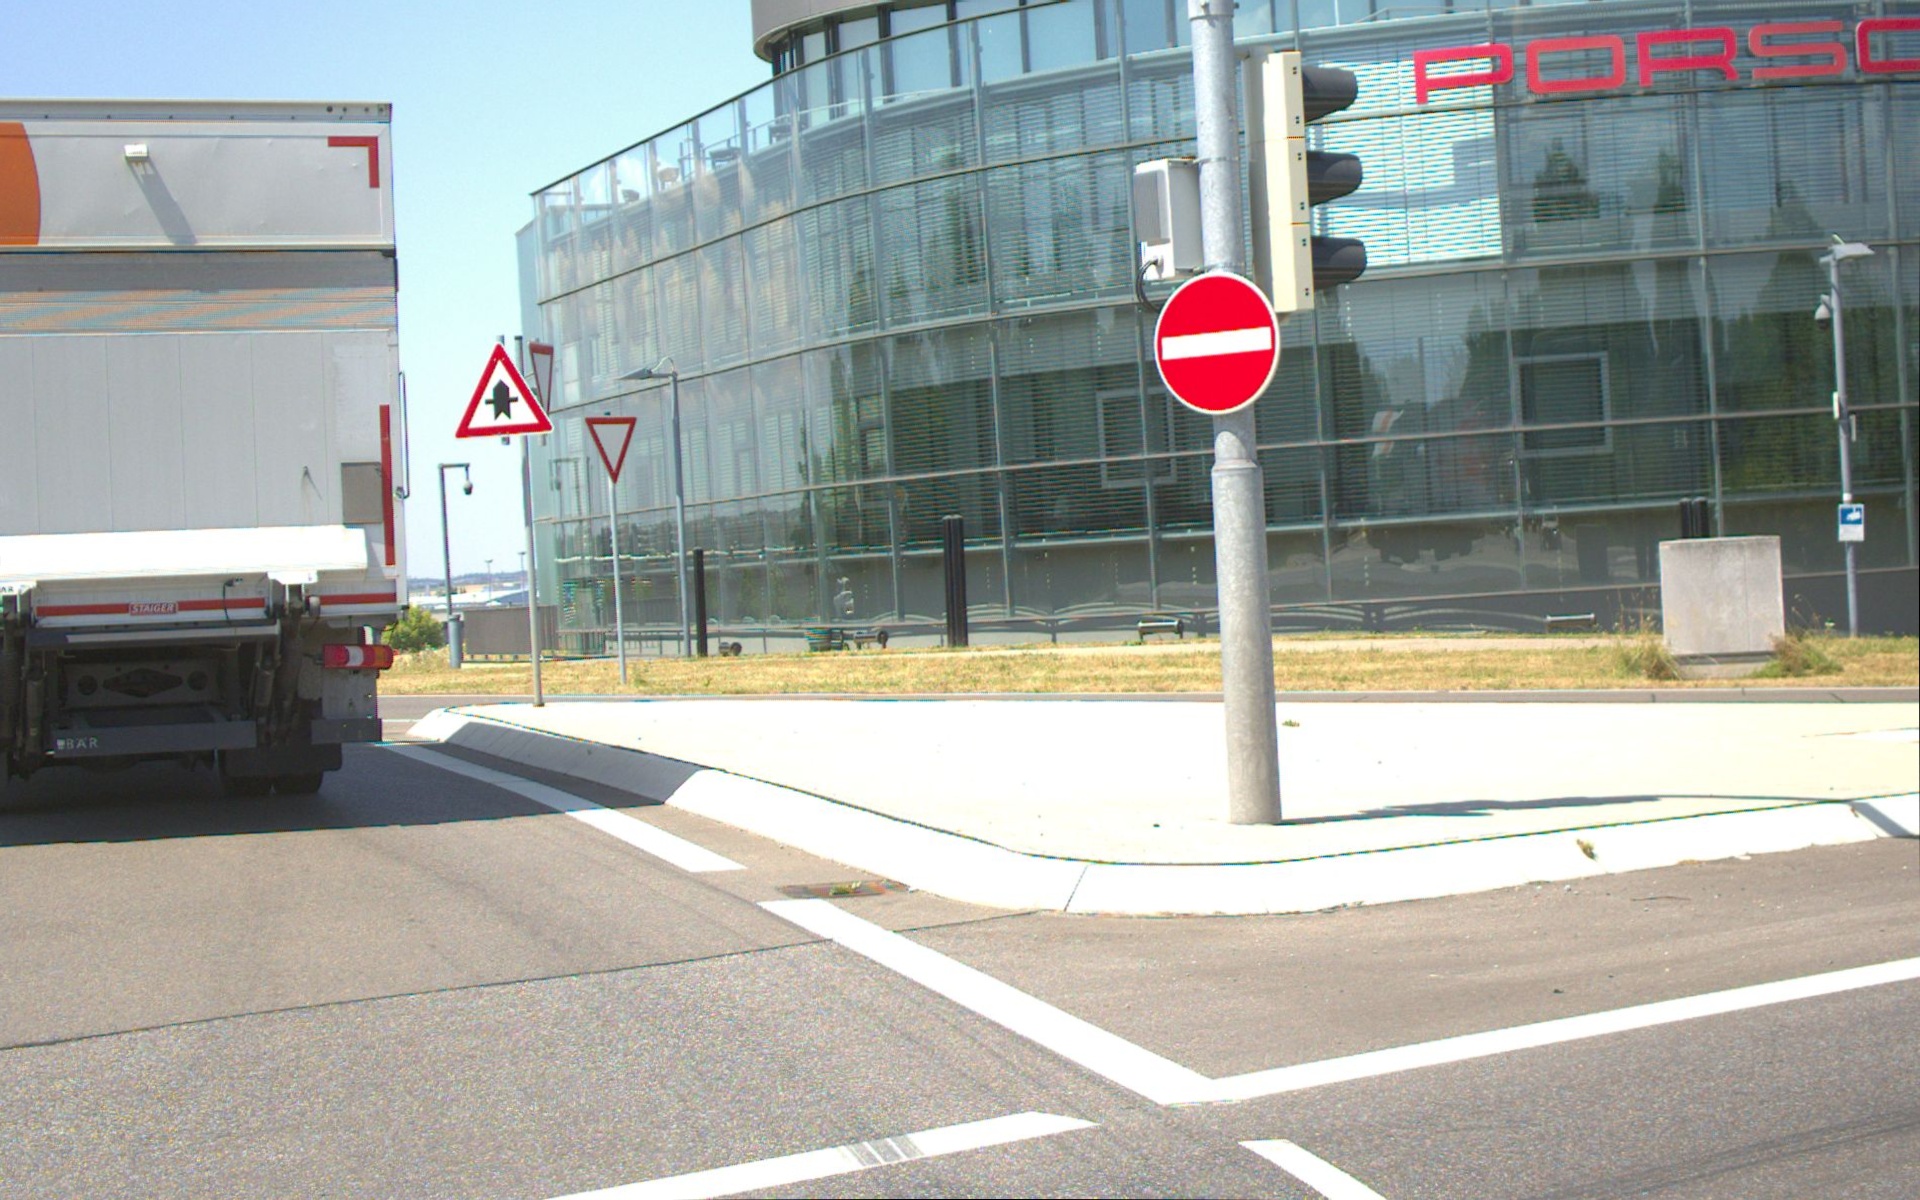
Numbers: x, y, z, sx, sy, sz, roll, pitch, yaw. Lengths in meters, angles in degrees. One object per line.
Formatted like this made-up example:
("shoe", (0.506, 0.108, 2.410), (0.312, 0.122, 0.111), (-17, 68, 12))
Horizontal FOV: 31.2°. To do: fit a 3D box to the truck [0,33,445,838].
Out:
("truck", (-5.391, -0.755, 21.095), (2.769, 3.847, 9.372), (-1, 0, -18))
